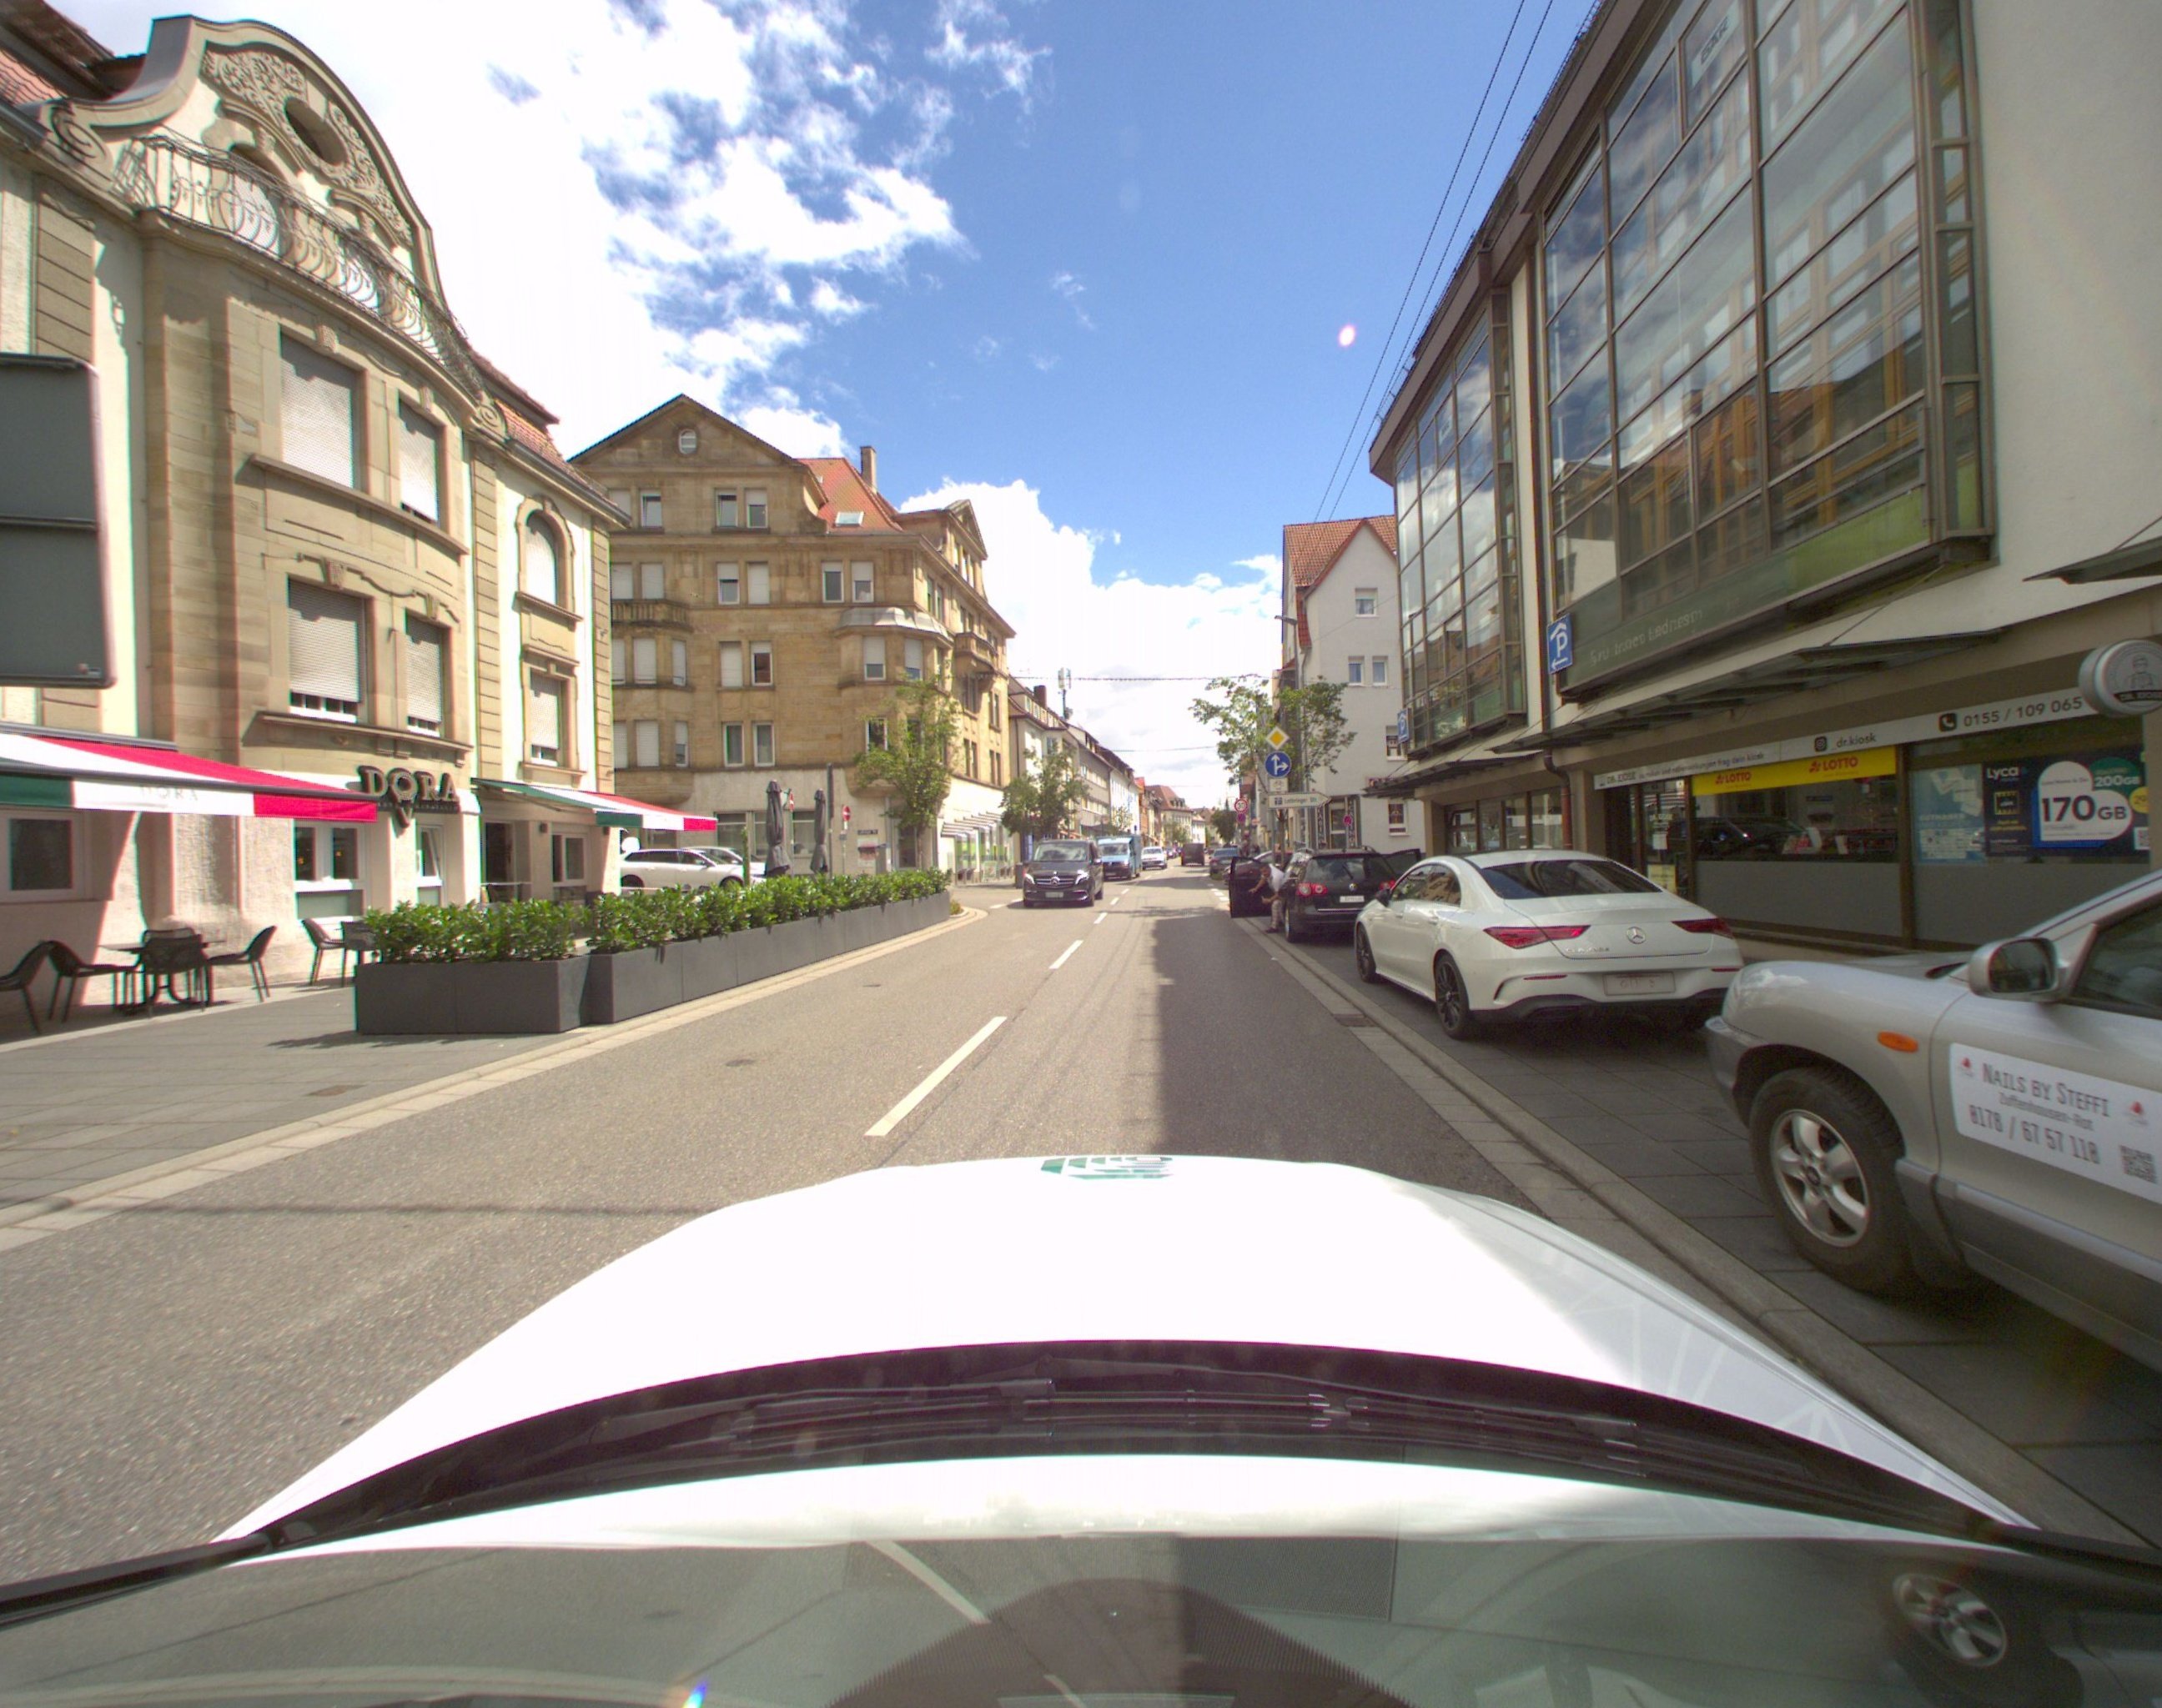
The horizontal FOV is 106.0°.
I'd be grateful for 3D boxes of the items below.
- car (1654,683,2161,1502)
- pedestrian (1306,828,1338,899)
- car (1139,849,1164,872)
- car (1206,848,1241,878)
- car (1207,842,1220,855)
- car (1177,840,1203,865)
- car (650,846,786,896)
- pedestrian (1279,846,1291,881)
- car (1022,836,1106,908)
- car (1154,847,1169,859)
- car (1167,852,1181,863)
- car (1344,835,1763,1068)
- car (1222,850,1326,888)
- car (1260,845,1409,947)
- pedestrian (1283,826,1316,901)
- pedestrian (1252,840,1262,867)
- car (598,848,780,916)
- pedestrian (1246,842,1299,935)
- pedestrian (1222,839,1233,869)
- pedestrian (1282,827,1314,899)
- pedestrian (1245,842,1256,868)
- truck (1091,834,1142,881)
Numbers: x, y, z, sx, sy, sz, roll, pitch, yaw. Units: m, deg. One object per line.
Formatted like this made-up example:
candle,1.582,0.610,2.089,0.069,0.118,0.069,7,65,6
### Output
car,3.115,0.474,1.330,1.814,1.731,4.243,-3,0,9
pedestrian,7.048,0.275,23.814,0.686,2.013,0.724,-1,0,1
car,4.984,0.448,57.919,1.689,1.585,3.963,-1,0,5
car,7.305,0.414,42.022,1.513,1.434,3.376,-2,0,6
car,24.754,-0.977,152.393,2.050,2.301,4.240,0,0,13
car,9.047,-0.157,67.240,1.960,1.875,5.050,-2,0,8
car,-12.983,0.581,29.314,3.974,1.662,1.909,-1,0,0
pedestrian,11.251,0.534,44.907,0.591,1.890,0.574,0,-1,8
car,-0.374,0.453,23.501,1.825,1.835,4.578,-2,0,6
car,11.023,-0.168,111.708,1.984,1.585,4.005,-1,0,5
car,15.032,0.557,131.914,1.984,1.585,4.005,-1,0,5
car,3.726,0.613,7.385,1.613,1.434,4.246,-3,0,6
car,7.196,0.550,30.577,3.604,1.413,1.592,0,0,4
car,4.133,0.590,13.911,1.597,1.434,4.181,-2,0,6
pedestrian,6.021,0.261,22.432,0.686,2.013,0.724,-1,0,1
pedestrian,13.175,-0.030,60.969,0.679,2.013,0.599,-1,0,3
car,-11.409,0.776,24.013,4.419,1.775,1.993,-1,0,-11
pedestrian,3.393,0.585,14.433,0.658,1.594,0.682,-1,-1,42
pedestrian,9.932,-0.025,55.176,0.678,2.013,0.600,-1,0,9
pedestrian,6.262,0.258,23.547,0.686,2.013,0.724,-1,0,1
pedestrian,12.190,0.055,58.592,0.573,1.890,0.641,0,-1,-21
truck,1.897,0.143,41.719,2.054,2.165,5.305,-2,0,7
